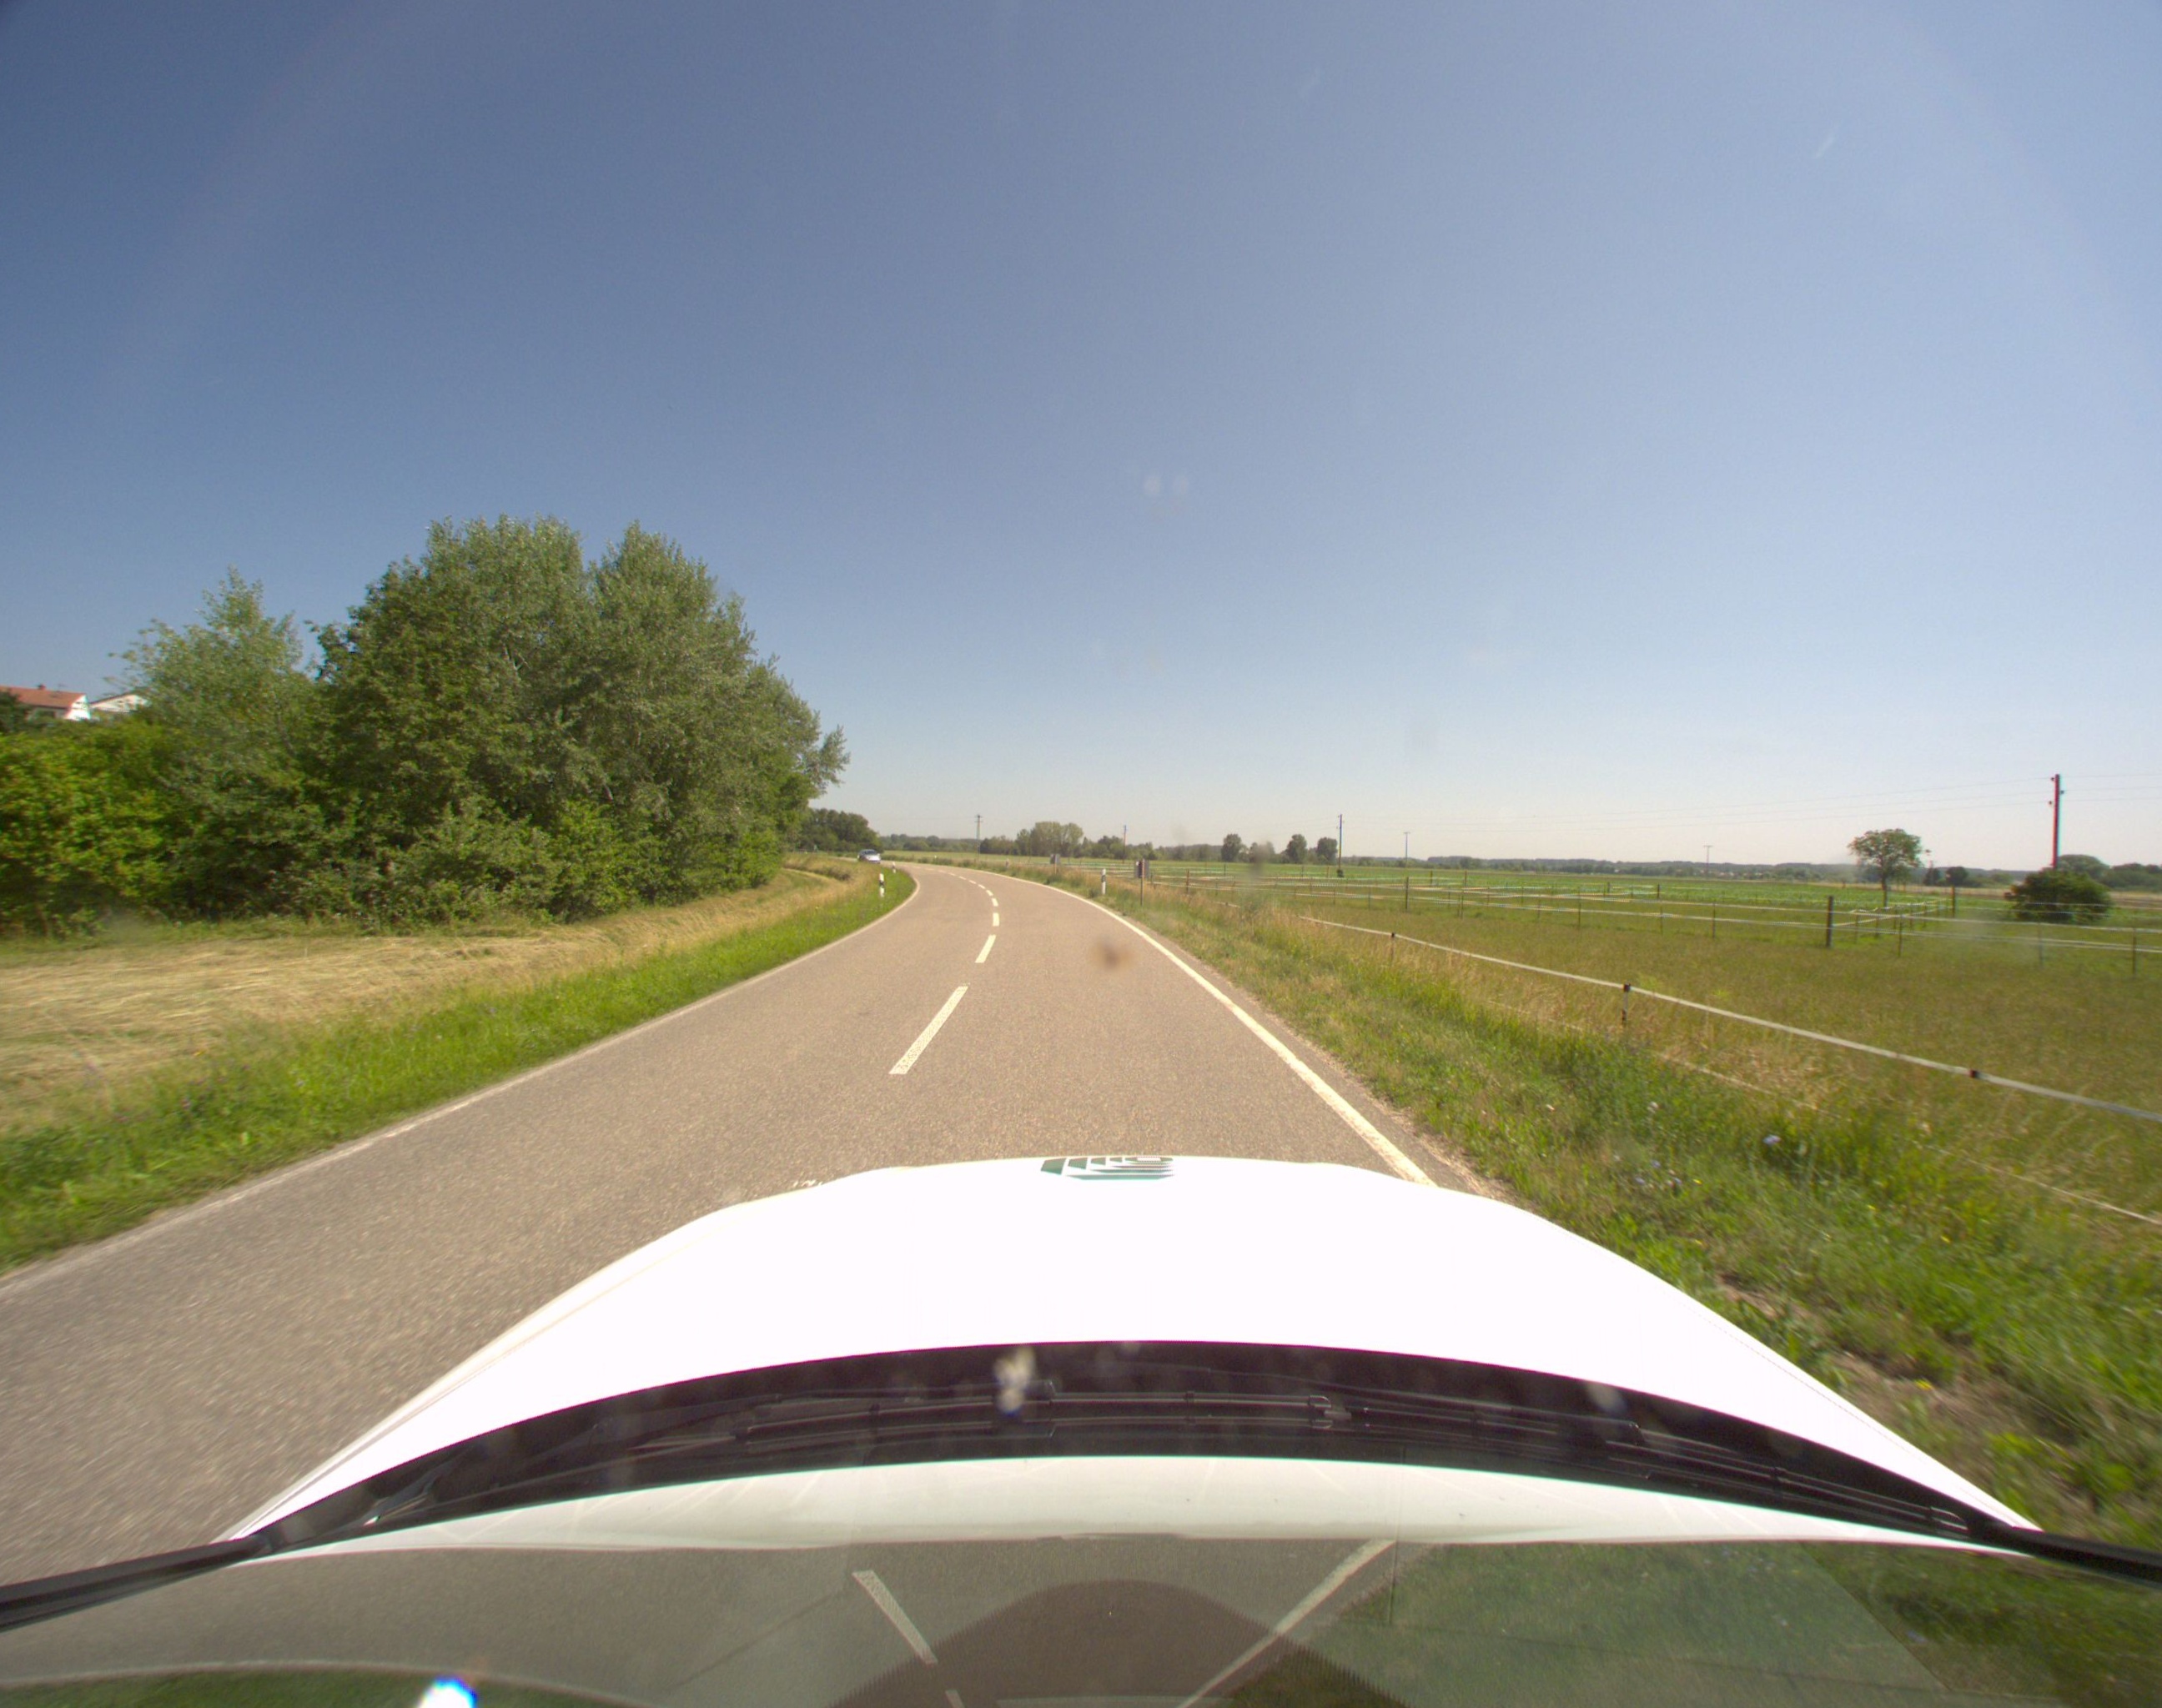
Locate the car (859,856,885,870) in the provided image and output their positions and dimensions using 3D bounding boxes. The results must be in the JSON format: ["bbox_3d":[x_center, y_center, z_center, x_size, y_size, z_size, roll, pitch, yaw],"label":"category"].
[{"bbox_3d":[-21.749,0.921,84.635,1.792,1.427,4.026,-2,1,-25],"label":"car"}]
